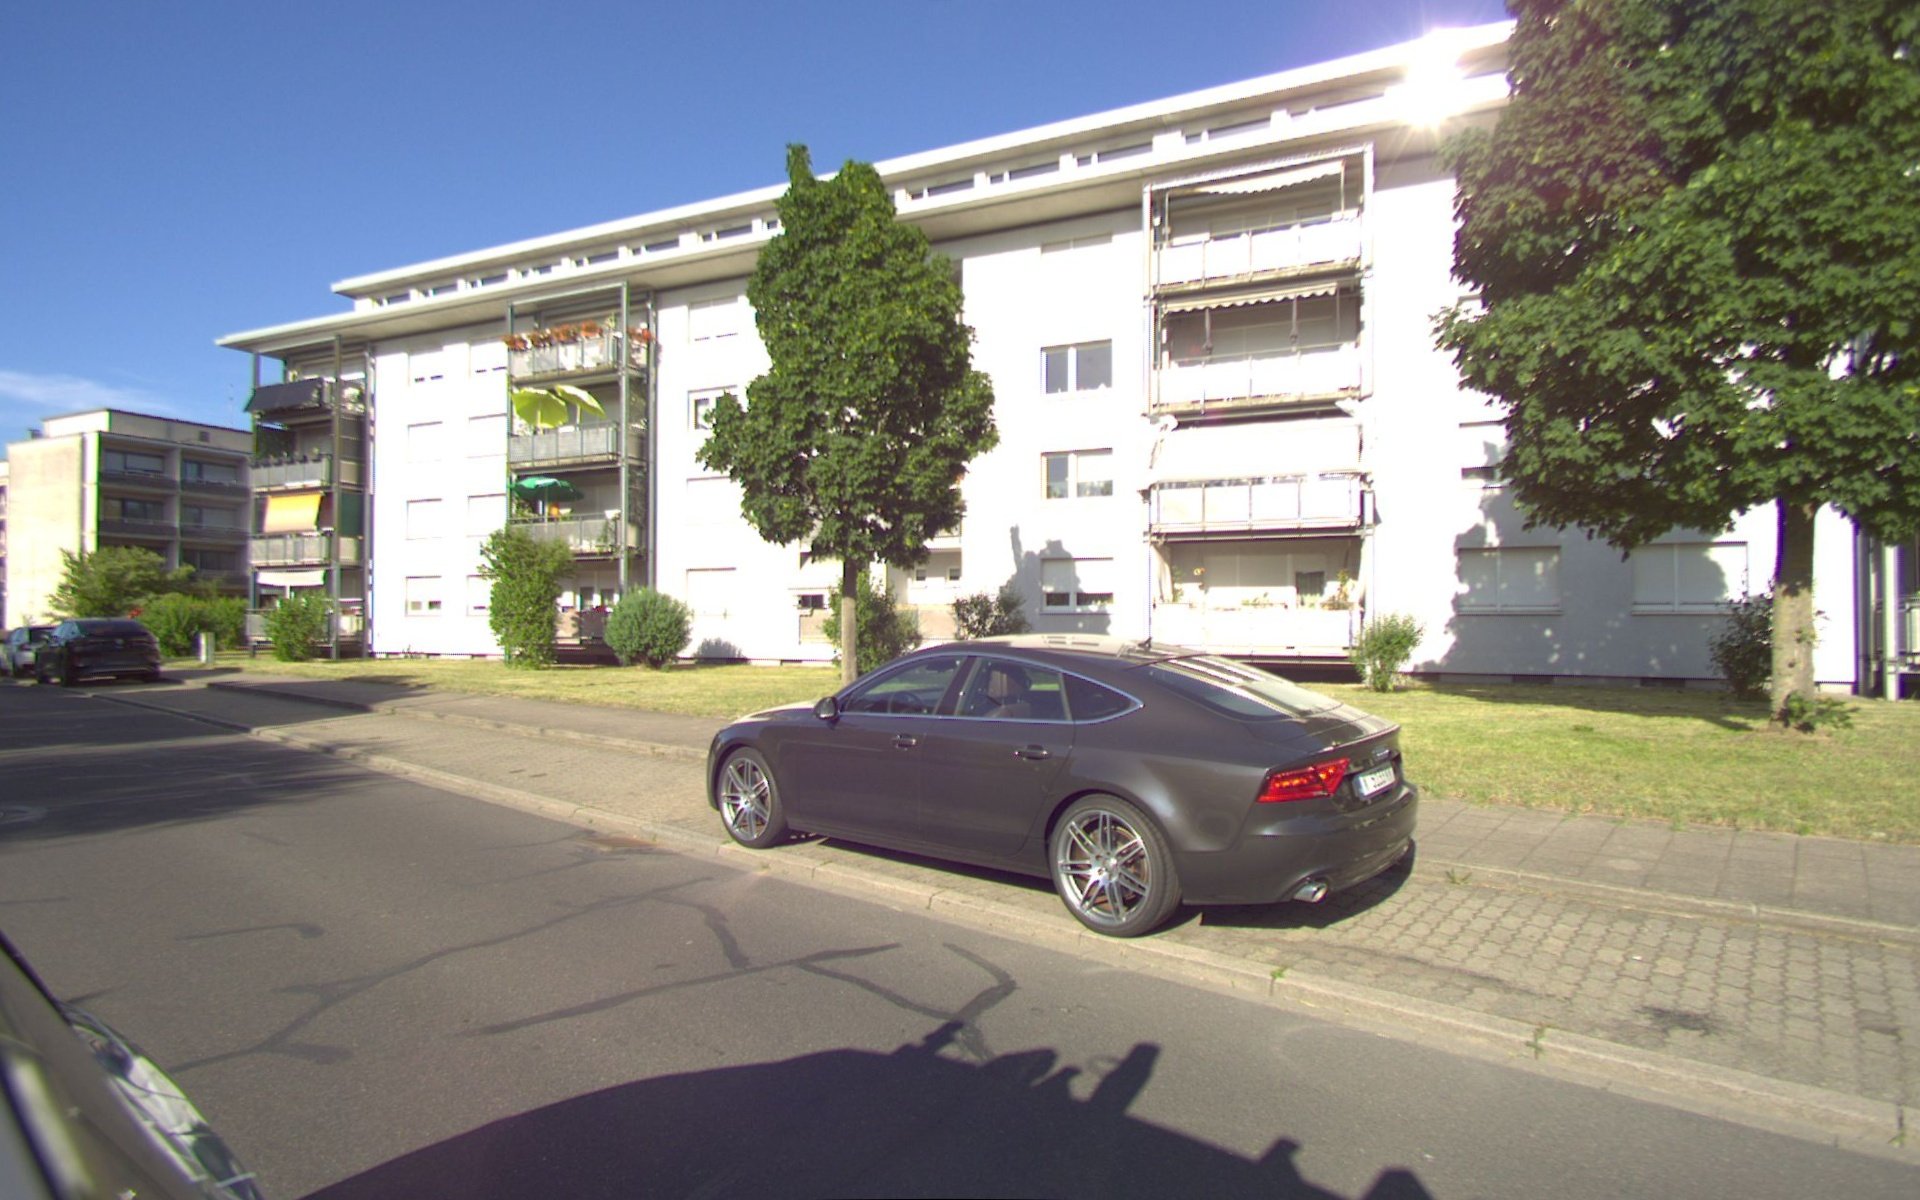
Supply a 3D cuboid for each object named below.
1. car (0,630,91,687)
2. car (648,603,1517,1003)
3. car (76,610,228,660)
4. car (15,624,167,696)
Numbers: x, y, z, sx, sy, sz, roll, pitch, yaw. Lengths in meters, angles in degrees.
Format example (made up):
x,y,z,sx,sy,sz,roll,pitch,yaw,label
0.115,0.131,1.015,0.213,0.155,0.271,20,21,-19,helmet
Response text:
x,y,z,sx,sy,sz,roll,pitch,yaw,label
-26.459,1.622,28.995,4.326,1.478,1.630,-2,-1,39,car
0.366,0.854,6.440,5.253,1.504,2.014,-2,0,41,car
-42.301,1.885,53.160,2.208,2.447,5.853,-3,-4,35,car
-21.570,1.416,25.059,4.804,1.616,1.896,-1,-2,37,car
